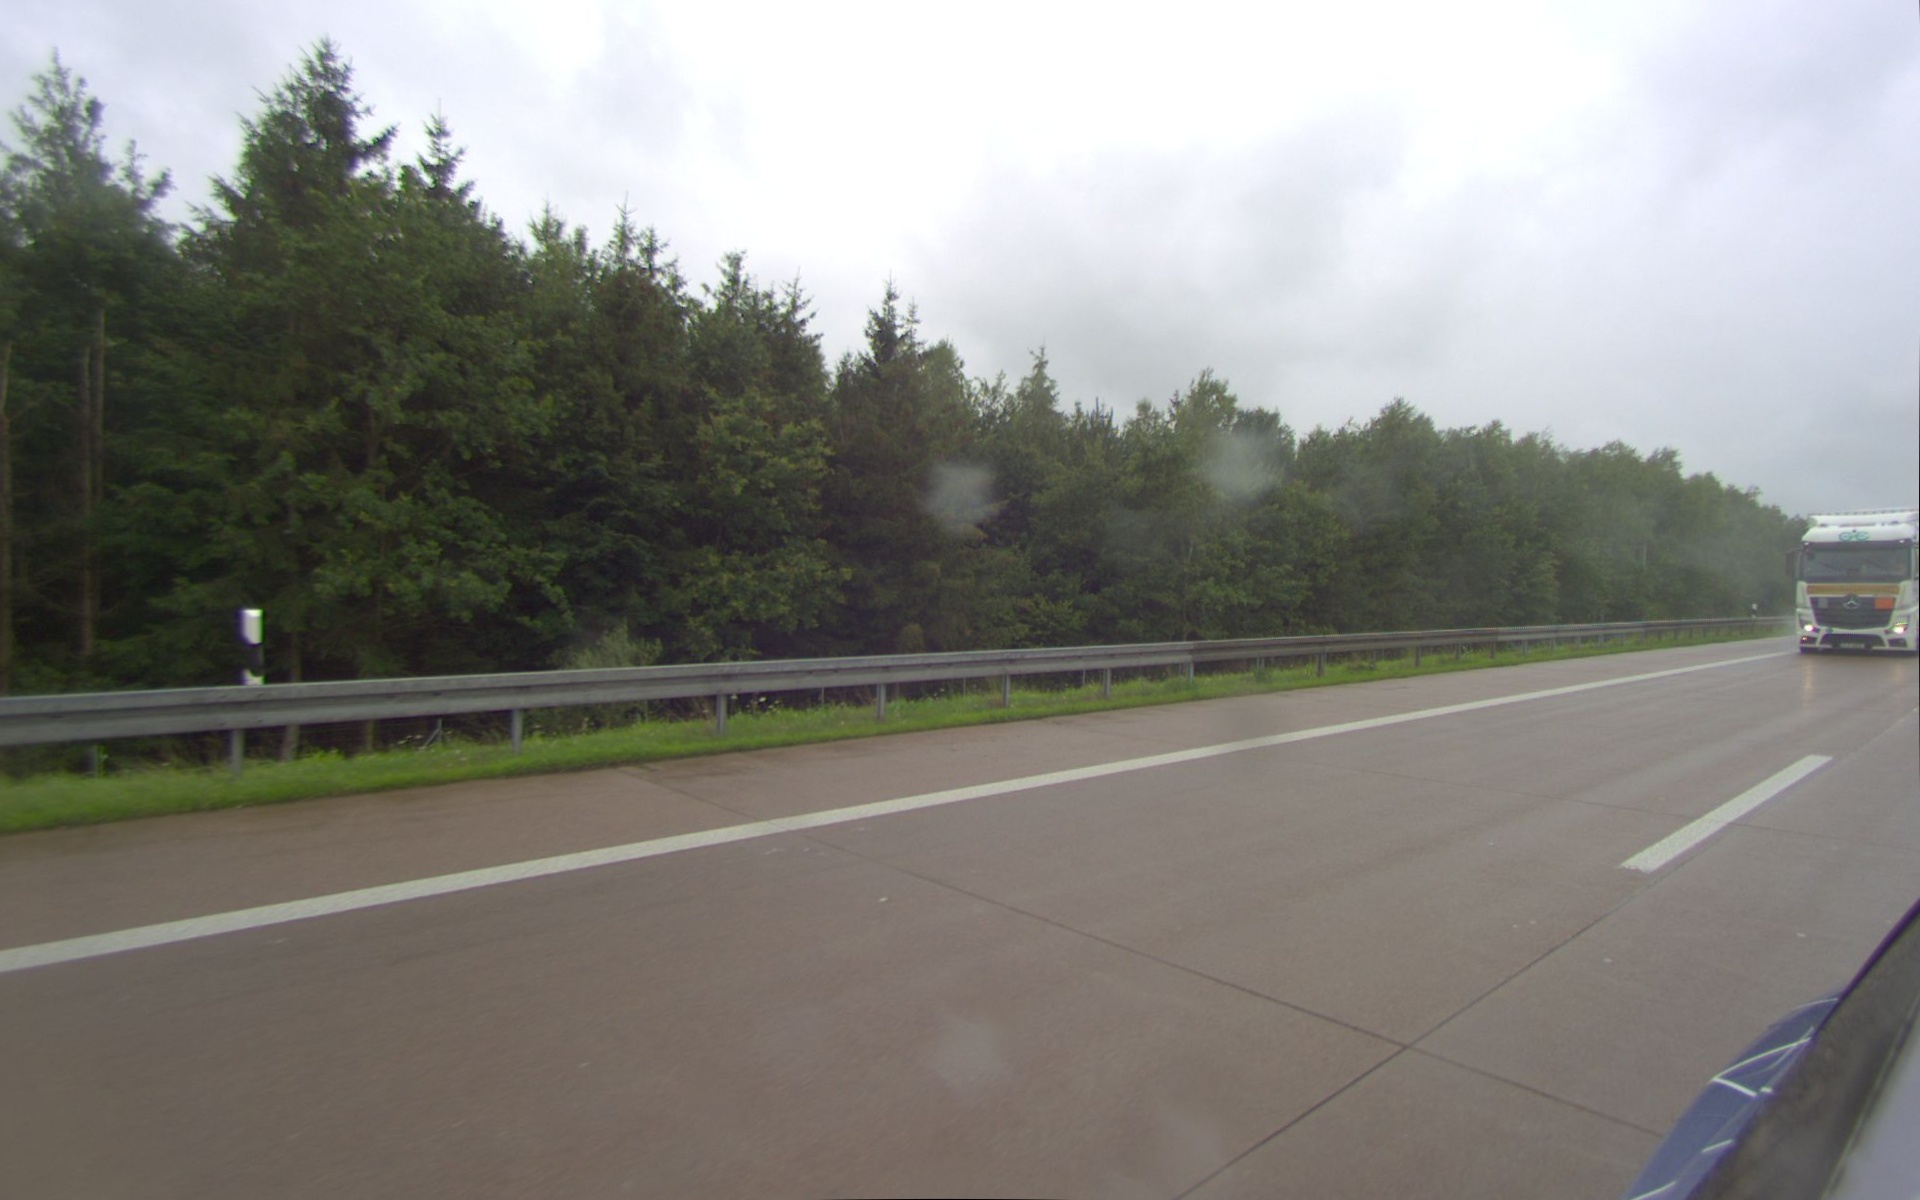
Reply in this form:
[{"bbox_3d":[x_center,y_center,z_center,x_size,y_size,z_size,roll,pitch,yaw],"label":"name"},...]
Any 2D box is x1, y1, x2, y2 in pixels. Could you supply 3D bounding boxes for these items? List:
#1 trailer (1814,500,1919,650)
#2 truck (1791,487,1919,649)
[{"bbox_3d":[31.564,-0.654,33.859,12.906,4.284,2.857,1,1,-43],"label":"trailer"},{"bbox_3d":[26.200,-0.830,28.872,6.240,4.158,2.885,1,1,-43],"label":"truck"}]
